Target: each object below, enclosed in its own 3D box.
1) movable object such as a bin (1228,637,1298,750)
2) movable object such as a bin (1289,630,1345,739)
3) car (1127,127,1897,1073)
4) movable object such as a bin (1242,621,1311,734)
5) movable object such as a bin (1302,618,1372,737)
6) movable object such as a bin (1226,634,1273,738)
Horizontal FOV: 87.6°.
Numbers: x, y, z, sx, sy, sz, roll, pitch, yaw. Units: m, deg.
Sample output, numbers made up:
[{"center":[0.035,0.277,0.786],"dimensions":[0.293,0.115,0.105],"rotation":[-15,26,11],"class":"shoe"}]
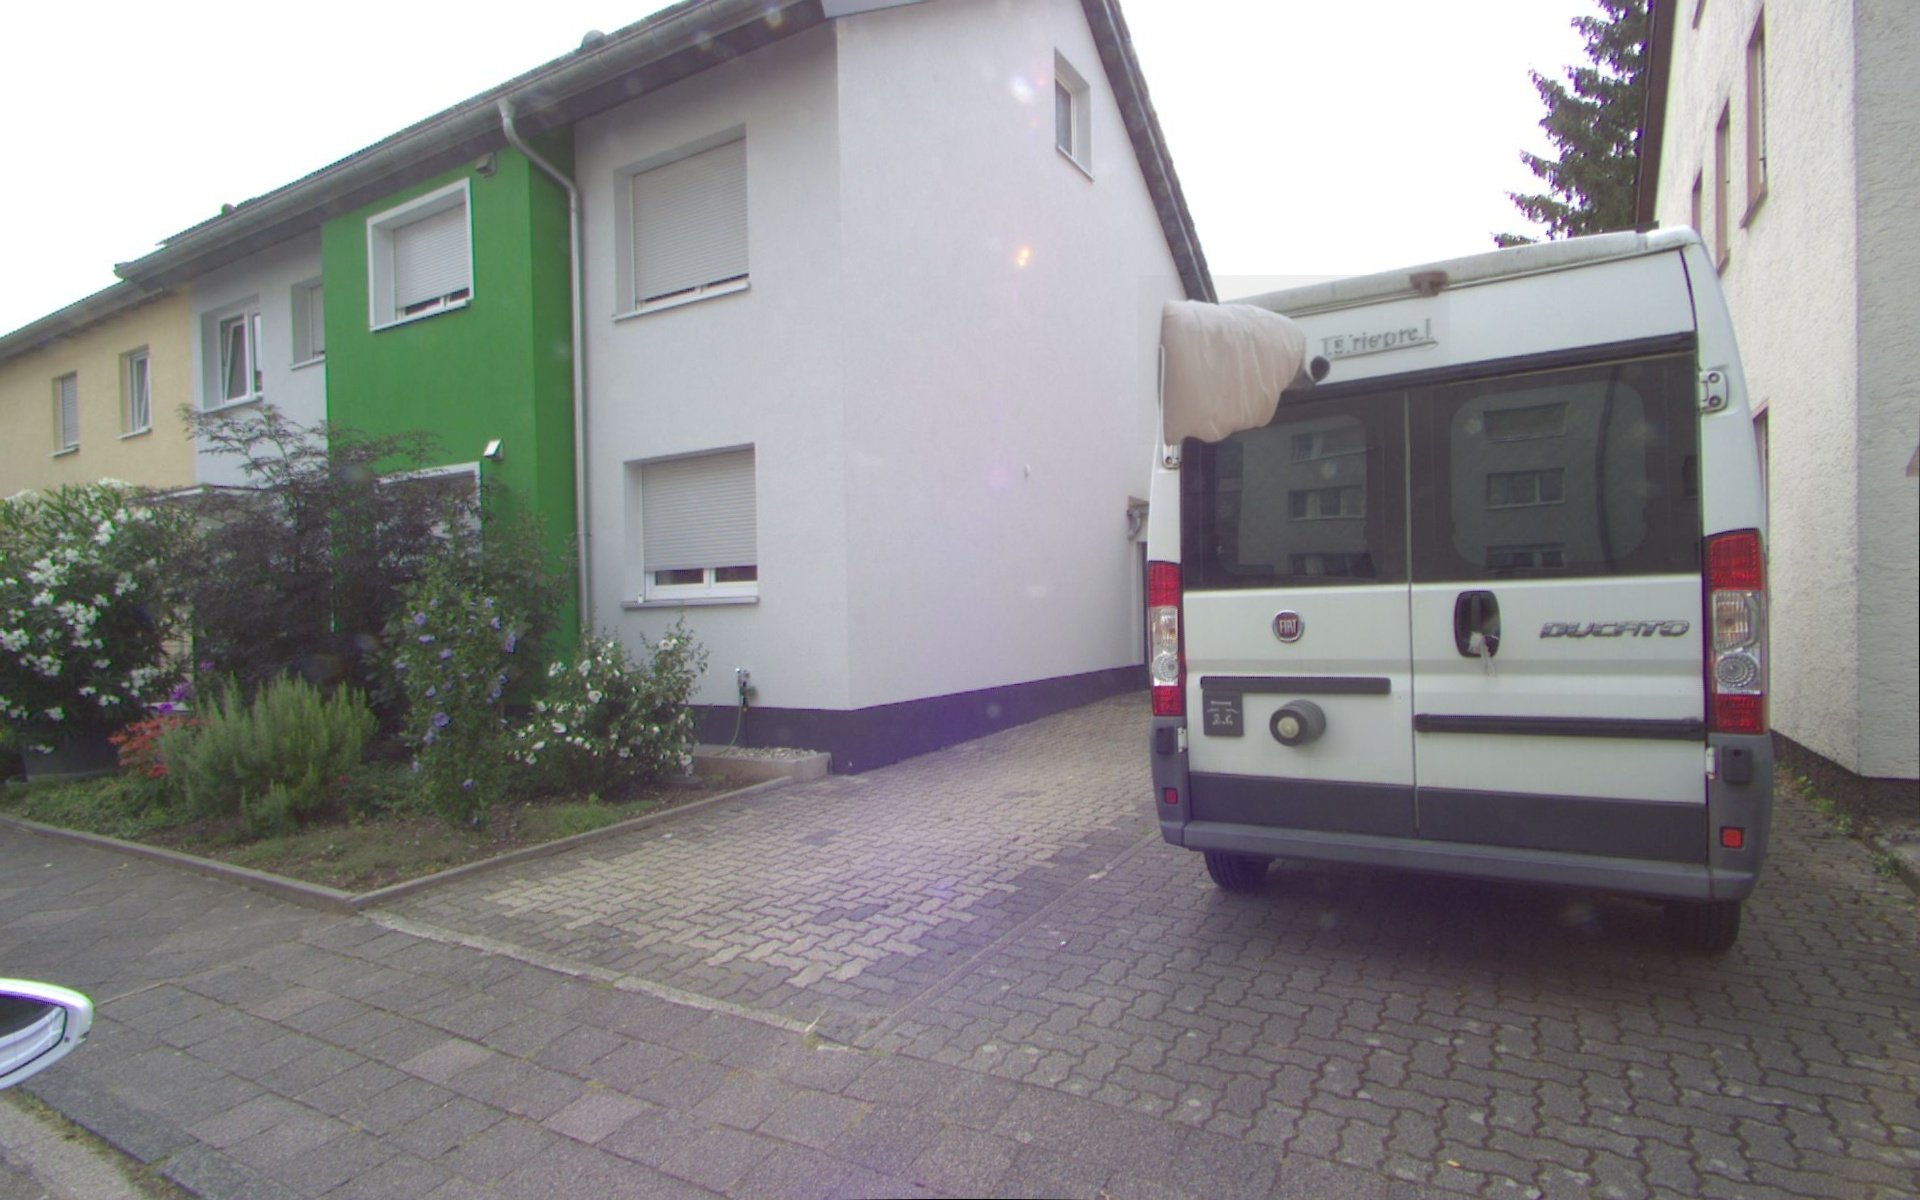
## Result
[{"center":[2.691,0.811,8.878],"dimensions":[0.475,0.938,0.518],"rotation":[-1,2,30],"class":"movable object such as a bin"},{"center":[3.266,0.760,9.149],"dimensions":[0.396,0.938,0.448],"rotation":[-1,2,30],"class":"movable object such as a bin"},{"center":[2.910,-0.020,5.488],"dimensions":[2.205,2.576,5.077],"rotation":[-1,1,31],"class":"car"},{"center":[3.100,0.744,9.804],"dimensions":[0.538,1.046,0.454],"rotation":[-1,2,30],"class":"movable object such as a bin"},{"center":[3.587,0.719,9.522],"dimensions":[0.538,1.071,0.454],"rotation":[-1,2,30],"class":"movable object such as a bin"},{"center":[2.745,0.803,9.490],"dimensions":[0.333,0.938,0.354],"rotation":[-1,2,30],"class":"movable object such as a bin"}]
